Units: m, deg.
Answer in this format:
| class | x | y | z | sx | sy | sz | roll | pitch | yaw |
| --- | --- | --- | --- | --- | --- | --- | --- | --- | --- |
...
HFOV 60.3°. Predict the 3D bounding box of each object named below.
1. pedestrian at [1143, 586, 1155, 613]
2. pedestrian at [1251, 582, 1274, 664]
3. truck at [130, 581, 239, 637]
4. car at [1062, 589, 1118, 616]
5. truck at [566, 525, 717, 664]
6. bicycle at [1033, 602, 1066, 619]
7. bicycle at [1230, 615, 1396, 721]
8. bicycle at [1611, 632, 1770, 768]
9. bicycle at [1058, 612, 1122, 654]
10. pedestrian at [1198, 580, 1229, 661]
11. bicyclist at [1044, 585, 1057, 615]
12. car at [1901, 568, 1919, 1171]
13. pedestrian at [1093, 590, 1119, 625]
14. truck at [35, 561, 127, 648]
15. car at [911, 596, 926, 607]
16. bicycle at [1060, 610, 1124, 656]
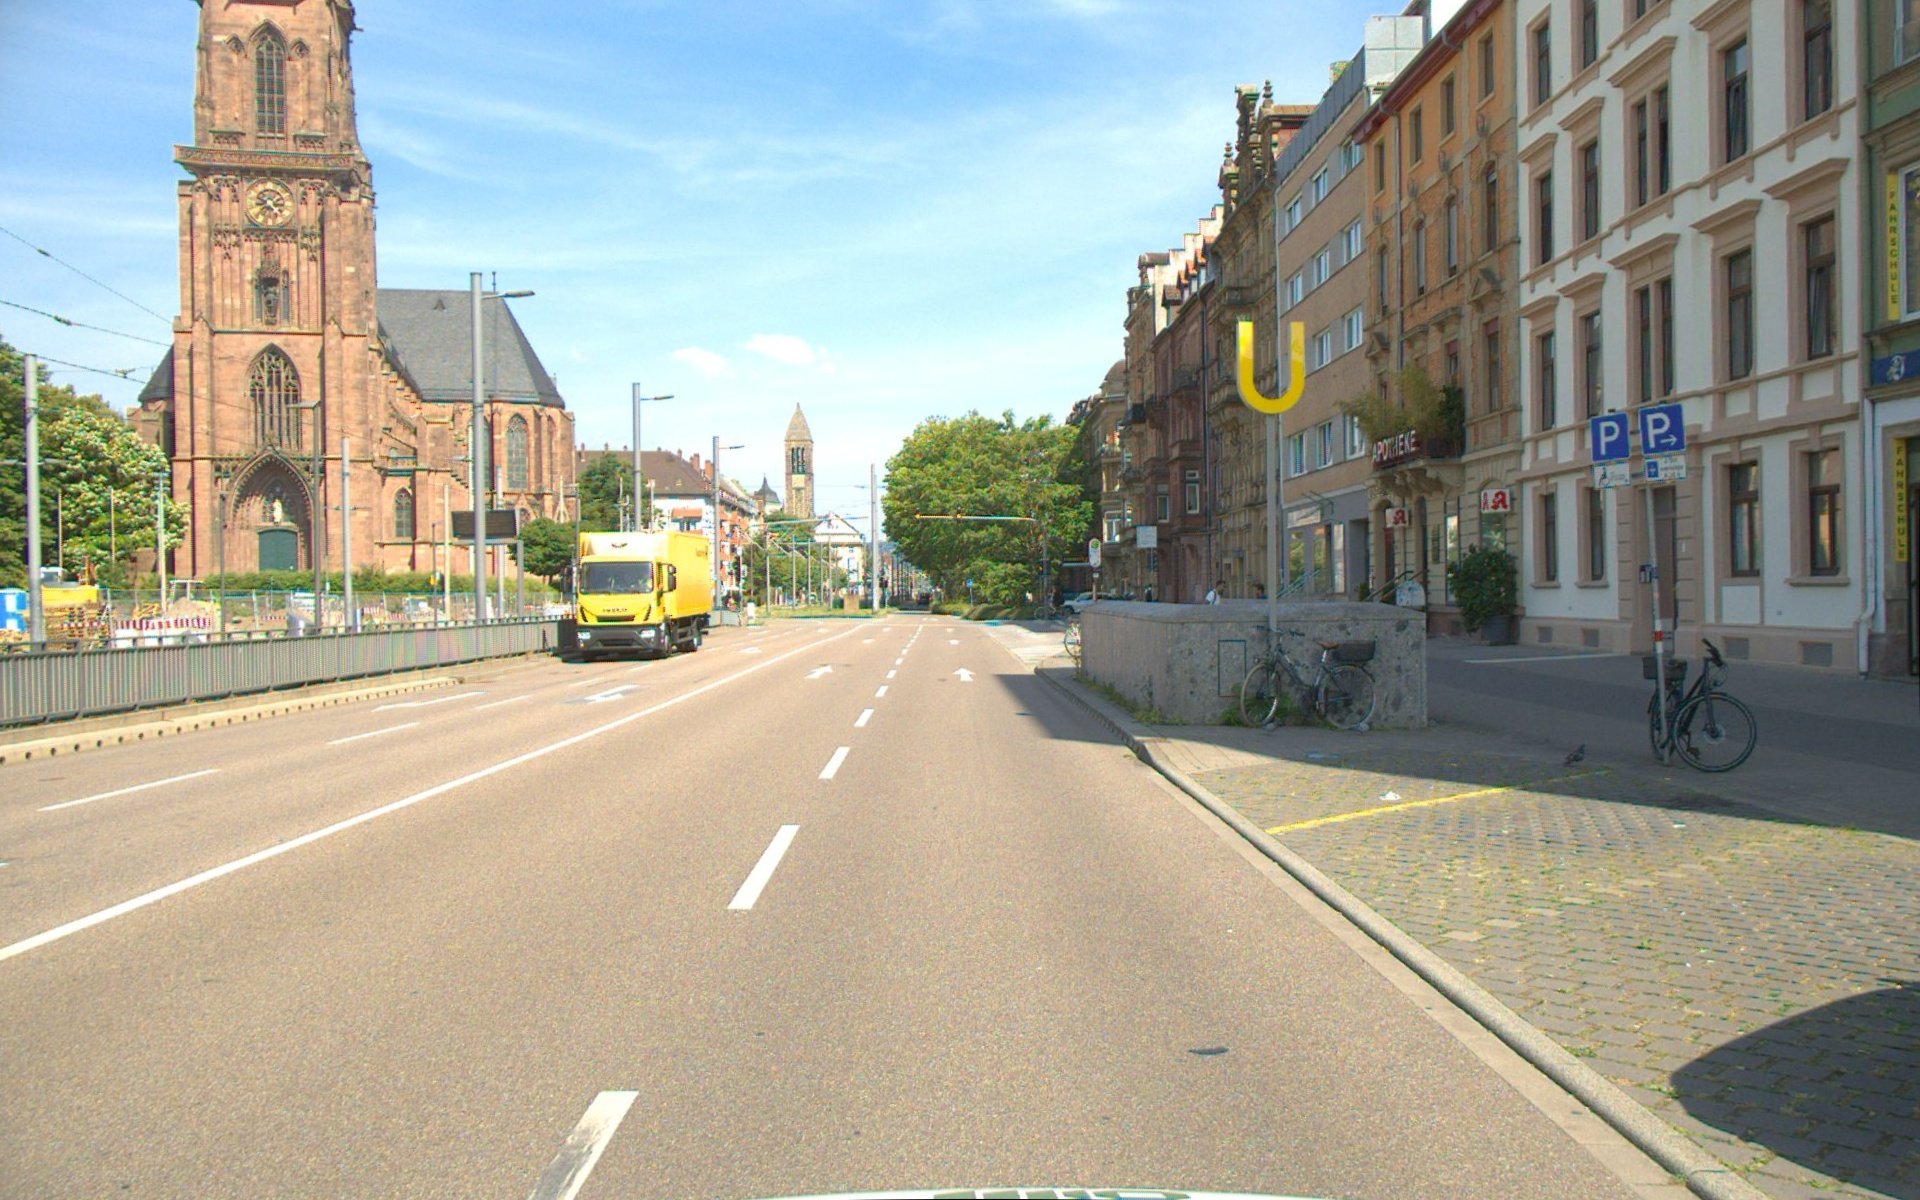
| class | x | y | z | sx | sy | sz | roll | pitch | yaw |
| --- | --- | --- | --- | --- | --- | --- | --- | --- | --- |
| pedestrian | 10.445 | -0.023 | 91.507 | 0.522 | 1.431 | 0.490 | -1 | 2 | -7 |
| pedestrian | 6.369 | 0.482 | 34.832 | 0.363 | 1.694 | 0.525 | -1 | 0 | -1 |
| truck | -39.041 | 0.449 | 83.373 | 4.307 | 2.725 | 2.387 | -1 | 0 | 3 |
| car | 9.262 | 0.187 | 118.010 | 3.905 | 1.780 | 2.001 | -1 | 3 | 1 |
| truck | -8.664 | -0.144 | 46.100 | 2.492 | 3.355 | 9.026 | -3 | 0 | -1 |
| bicycle | 4.938 | 0.593 | 91.026 | 1.789 | 0.878 | 0.481 | -1 | 2 | -16 |
| bicycle | 3.924 | 0.746 | 18.441 | 1.707 | 1.113 | 0.597 | -1 | 1 | -1 |
| bicycle | 6.667 | 0.882 | 15.199 | 0.570 | 1.114 | 1.819 | -4 | 0 | -1 |
| bicycle | 3.026 | 0.767 | 38.512 | 1.431 | 0.963 | 0.415 | -1 | -1 | -1 |
| pedestrian | 5.361 | 0.423 | 34.977 | 0.541 | 1.694 | 0.525 | -1 | 0 | -1 |
| bicyclist | 4.983 | 0.001 | 91.024 | 0.628 | 1.619 | 0.481 | -1 | 2 | -16 |
| car | 4.384 | 0.700 | 4.652 | 3.963 | 1.465 | 1.787 | 1 | 0 | -40 |
| pedestrian | 5.804 | 0.289 | 65.792 | 0.928 | 1.348 | 0.822 | -1 | 0 | -3 |
| truck | -38.414 | 0.187 | 72.464 | 2.979 | 3.631 | 5.999 | -1 | 0 | -23 |
| car | -5.339 | 0.209 | 212.874 | 1.861 | 1.400 | 3.813 | -1 | 0 | -3 |
| bicycle | 3.026 | 0.757 | 38.065 | 1.431 | 0.993 | 0.415 | -1 | 2 | -1 |
